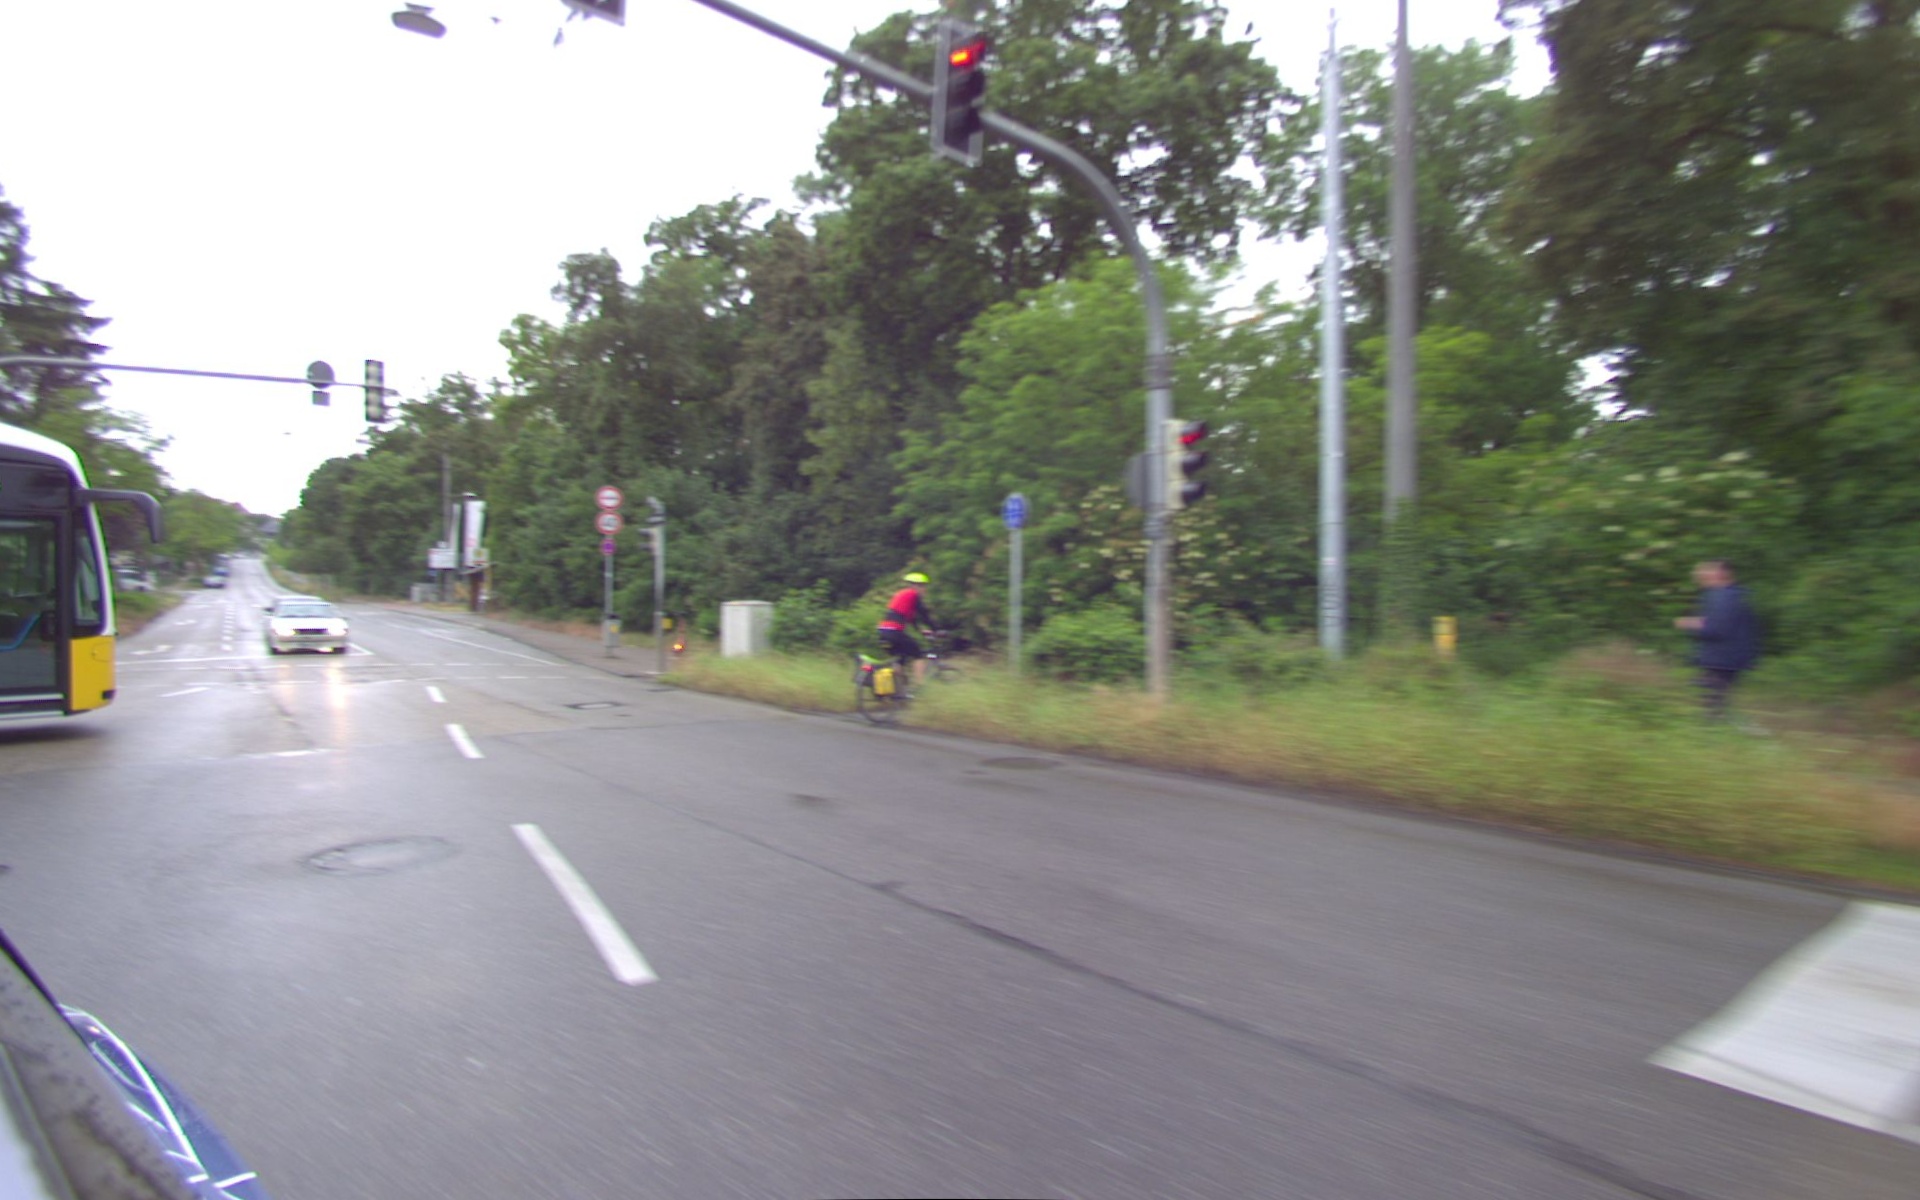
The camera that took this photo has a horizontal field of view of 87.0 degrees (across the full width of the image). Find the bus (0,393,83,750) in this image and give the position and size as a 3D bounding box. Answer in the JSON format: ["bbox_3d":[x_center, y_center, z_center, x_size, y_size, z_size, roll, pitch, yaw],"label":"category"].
[{"bbox_3d":[-12.860,-0.243,7.851,2.909,3.424,8.913,-1,0,42],"label":"bus"}]

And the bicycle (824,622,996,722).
[{"bbox_3d":[-0.588,0.855,12.541,2.118,1.105,0.582,0,1,-32],"label":"bicycle"}]

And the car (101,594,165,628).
[{"bbox_3d":[-37.750,0.485,46.292,1.971,1.364,4.010,1,1,-35],"label":"car"}]

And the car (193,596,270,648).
[{"bbox_3d":[-22.226,0.626,30.952,1.795,1.364,4.010,1,1,-35],"label":"car"}]

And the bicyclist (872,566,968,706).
[{"bbox_3d":[-0.495,0.421,12.590,1.031,1.665,0.582,0,1,-32],"label":"bicyclist"}]

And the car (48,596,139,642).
[{"bbox_3d":[-29.486,0.603,34.549,1.971,1.364,4.010,1,1,-35],"label":"car"}]

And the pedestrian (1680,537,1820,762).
[{"bbox_3d":[6.764,0.397,8.674,0.766,1.813,0.765,1,0,-36],"label":"pedestrian"}]

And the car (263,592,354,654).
[{"bbox_3d":[-16.864,0.544,26.115,1.795,1.364,4.010,1,1,-35],"label":"car"}]

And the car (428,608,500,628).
[{"bbox_3d":[-31.897,1.139,65.081,3.935,1.209,1.609,0,1,-37],"label":"car"}]

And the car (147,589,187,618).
[{"bbox_3d":[-55.805,0.200,71.267,1.971,1.895,4.010,1,1,-35],"label":"car"}]
